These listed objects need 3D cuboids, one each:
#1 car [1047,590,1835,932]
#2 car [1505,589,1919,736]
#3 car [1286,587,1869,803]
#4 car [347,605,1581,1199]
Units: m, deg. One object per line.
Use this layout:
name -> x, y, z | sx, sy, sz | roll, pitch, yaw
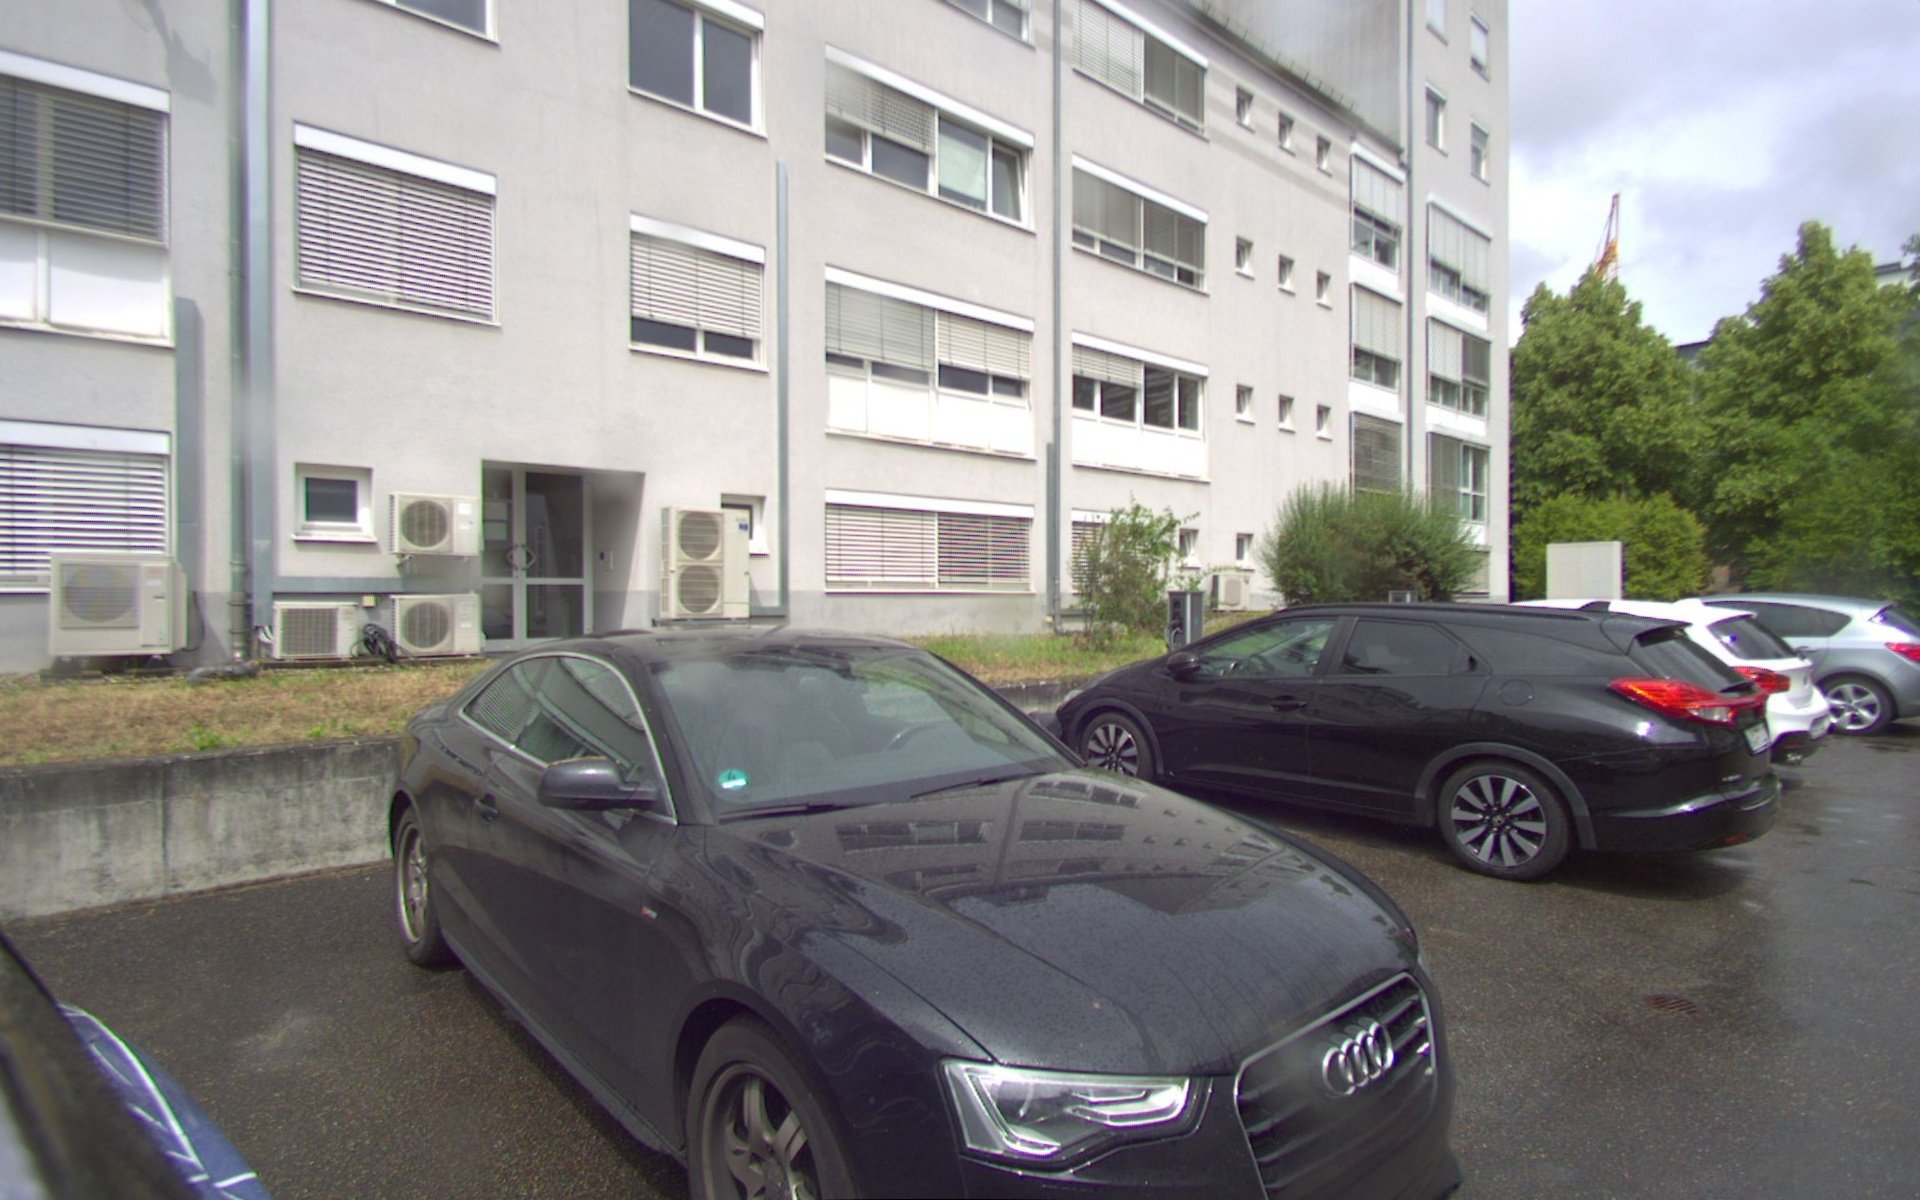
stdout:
car -> 2.746, 0.684, 6.605 | 1.736, 1.453, 4.321 | -1, 1, -42
car -> 9.116, 0.605, 12.025 | 1.736, 1.453, 4.321 | -1, 1, -42
car -> 5.209, 0.623, 9.018 | 1.670, 1.453, 4.132 | -1, 1, -41
car -> -0.671, 0.752, 3.528 | 1.736, 1.362, 4.536 | -1, 1, -41
